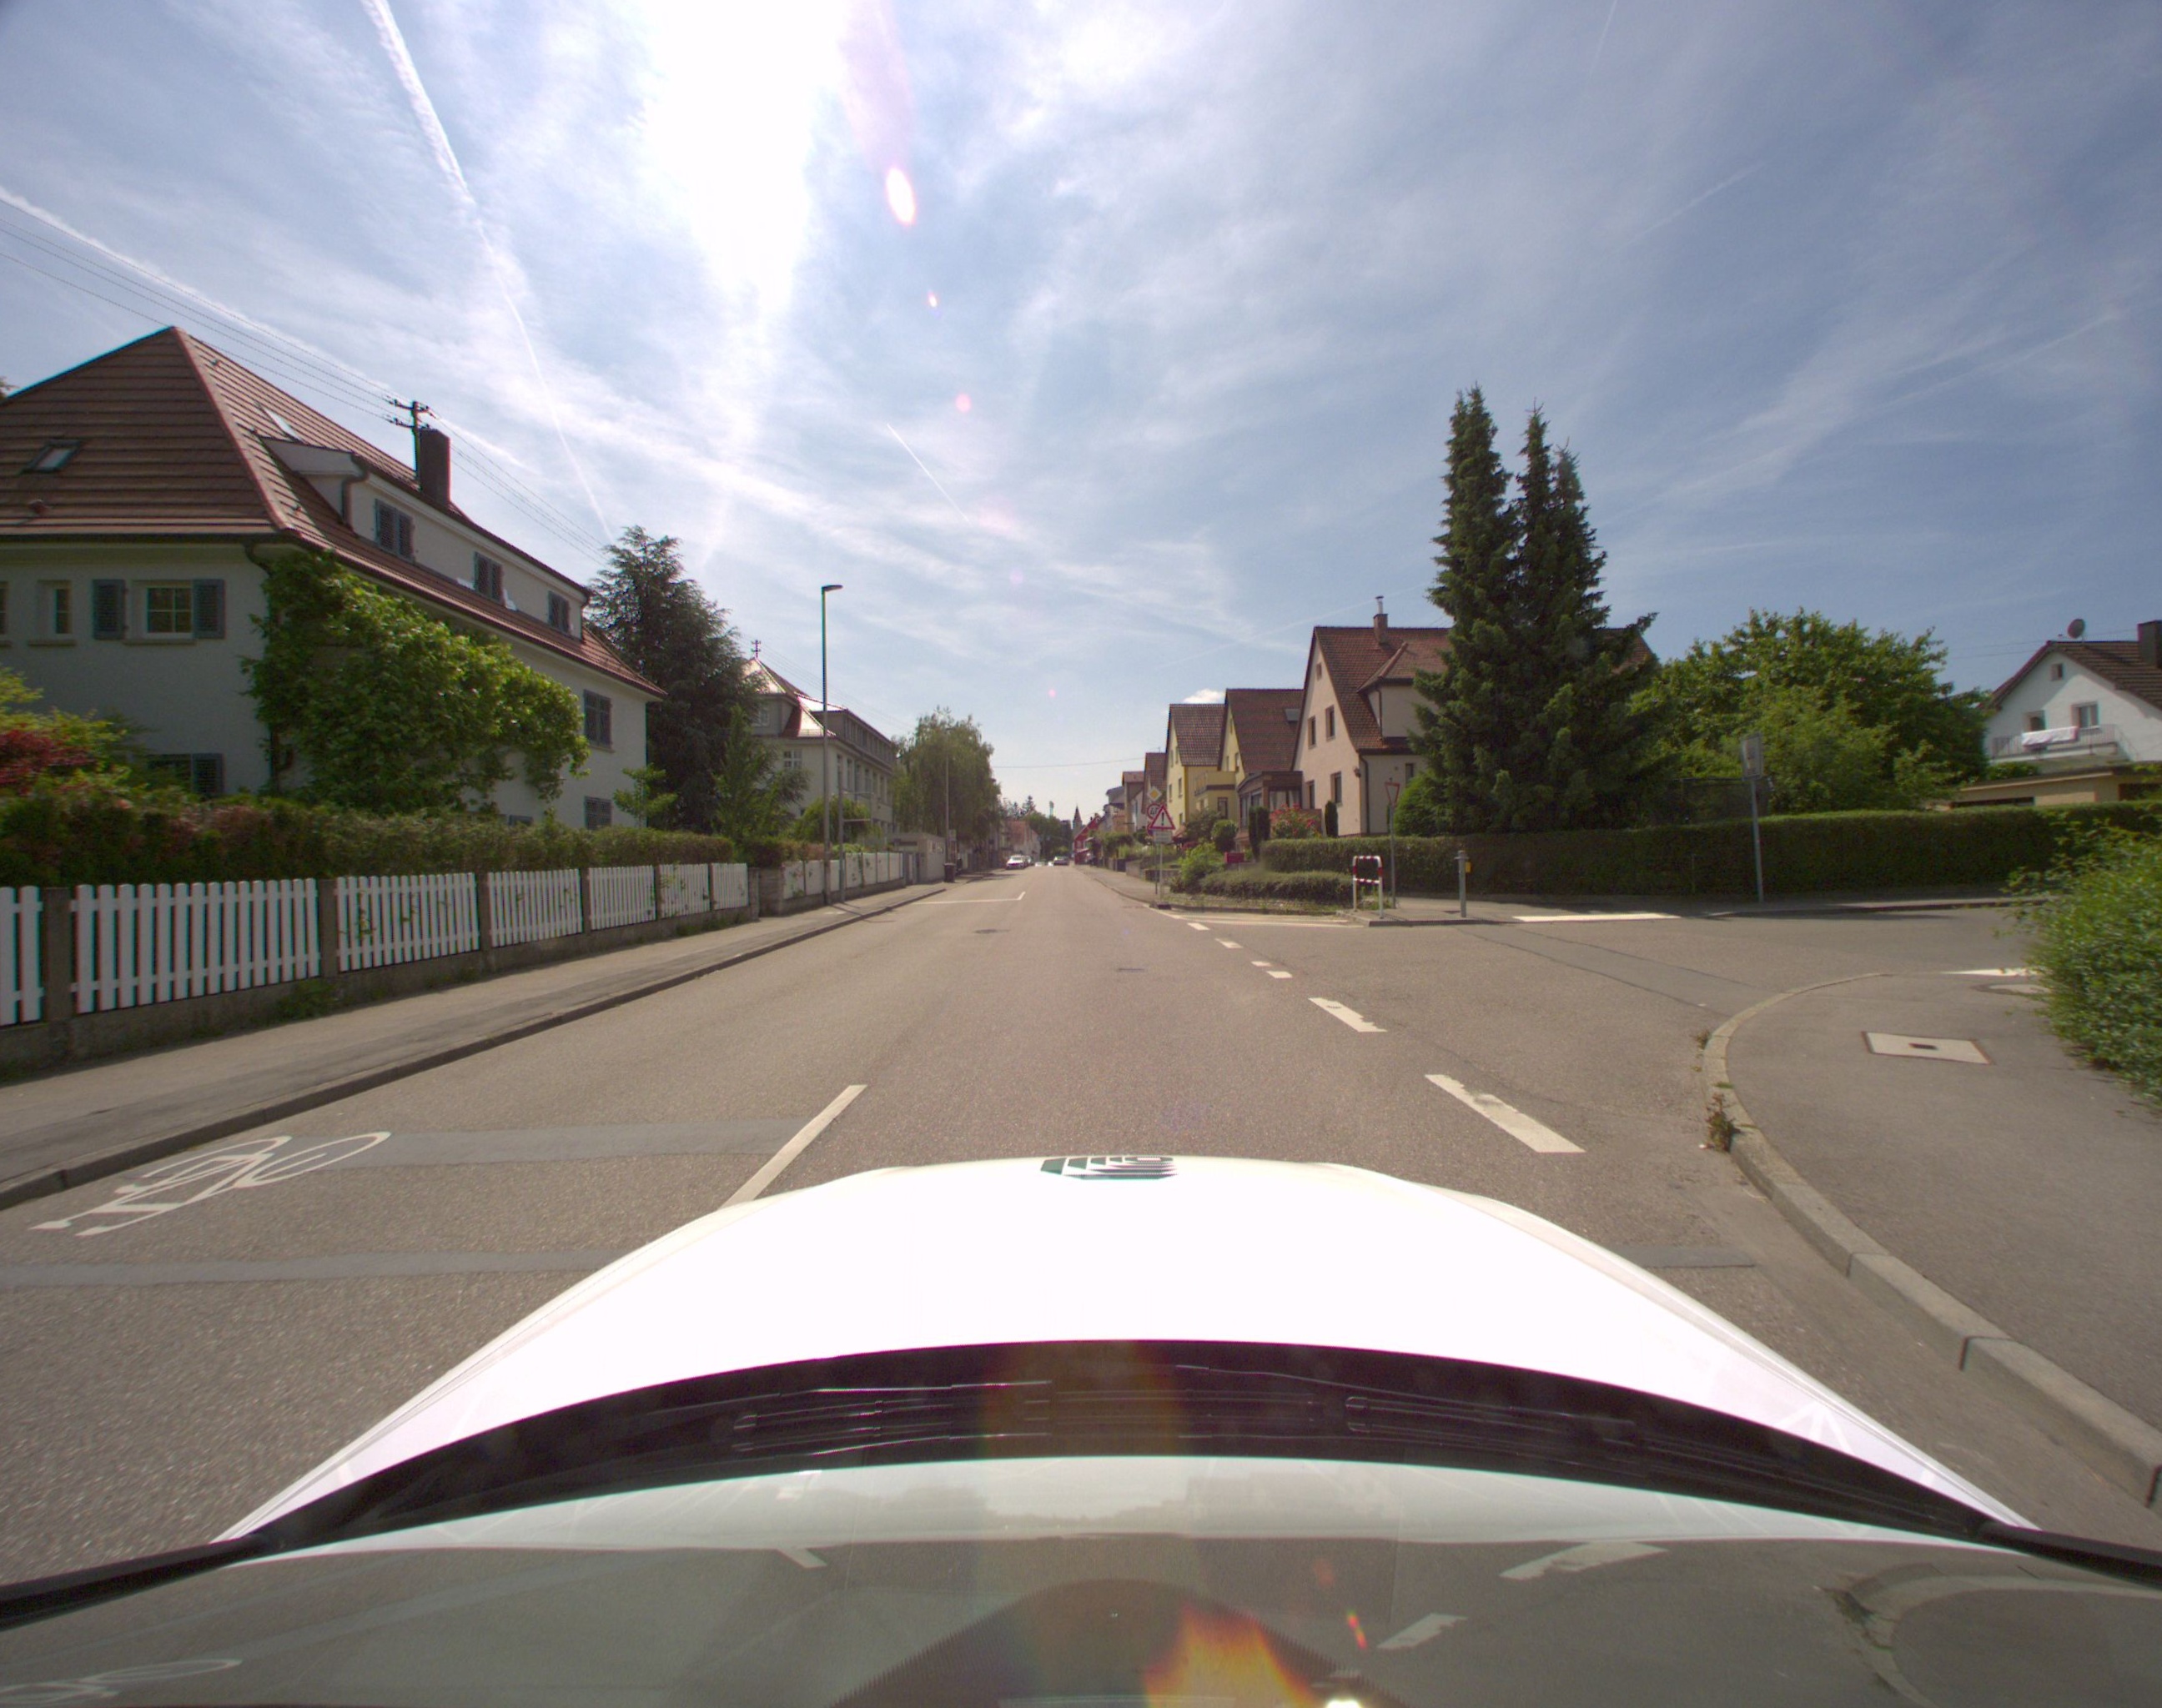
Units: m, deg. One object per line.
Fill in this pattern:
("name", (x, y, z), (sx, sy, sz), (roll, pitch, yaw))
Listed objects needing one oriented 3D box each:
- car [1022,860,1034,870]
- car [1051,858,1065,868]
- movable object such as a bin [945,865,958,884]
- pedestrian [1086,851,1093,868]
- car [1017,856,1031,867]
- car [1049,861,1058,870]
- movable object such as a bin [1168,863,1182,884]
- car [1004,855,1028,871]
("car", (-8.920, 1.871, 137.361), (1.989, 1.560, 4.309), (-2, 0, -3))
("car", (-3.839, 1.478, 134.020), (1.990, 1.560, 4.306), (-2, 0, -5))
("movable object such as a bin", (-7.400, 1.168, 46.497), (0.606, 1.046, 0.724), (-1, 1, -2))
("pedestrian", (0.947, 0.600, 87.619), (0.644, 1.729, 0.608), (-4, 0, -2))
("car", (-8.684, 1.170, 123.720), (1.989, 1.560, 4.309), (-1, 0, -3))
("car", (-6.390, 2.624, 188.763), (1.987, 2.013, 3.999), (-2, 0, 0))
("movable object such as a bin", (4.853, 1.011, 42.195), (0.582, 1.078, 0.733), (3, 0, -2))
("car", (-6.982, 0.972, 87.938), (2.102, 1.560, 4.316), (-2, 0, 2))
